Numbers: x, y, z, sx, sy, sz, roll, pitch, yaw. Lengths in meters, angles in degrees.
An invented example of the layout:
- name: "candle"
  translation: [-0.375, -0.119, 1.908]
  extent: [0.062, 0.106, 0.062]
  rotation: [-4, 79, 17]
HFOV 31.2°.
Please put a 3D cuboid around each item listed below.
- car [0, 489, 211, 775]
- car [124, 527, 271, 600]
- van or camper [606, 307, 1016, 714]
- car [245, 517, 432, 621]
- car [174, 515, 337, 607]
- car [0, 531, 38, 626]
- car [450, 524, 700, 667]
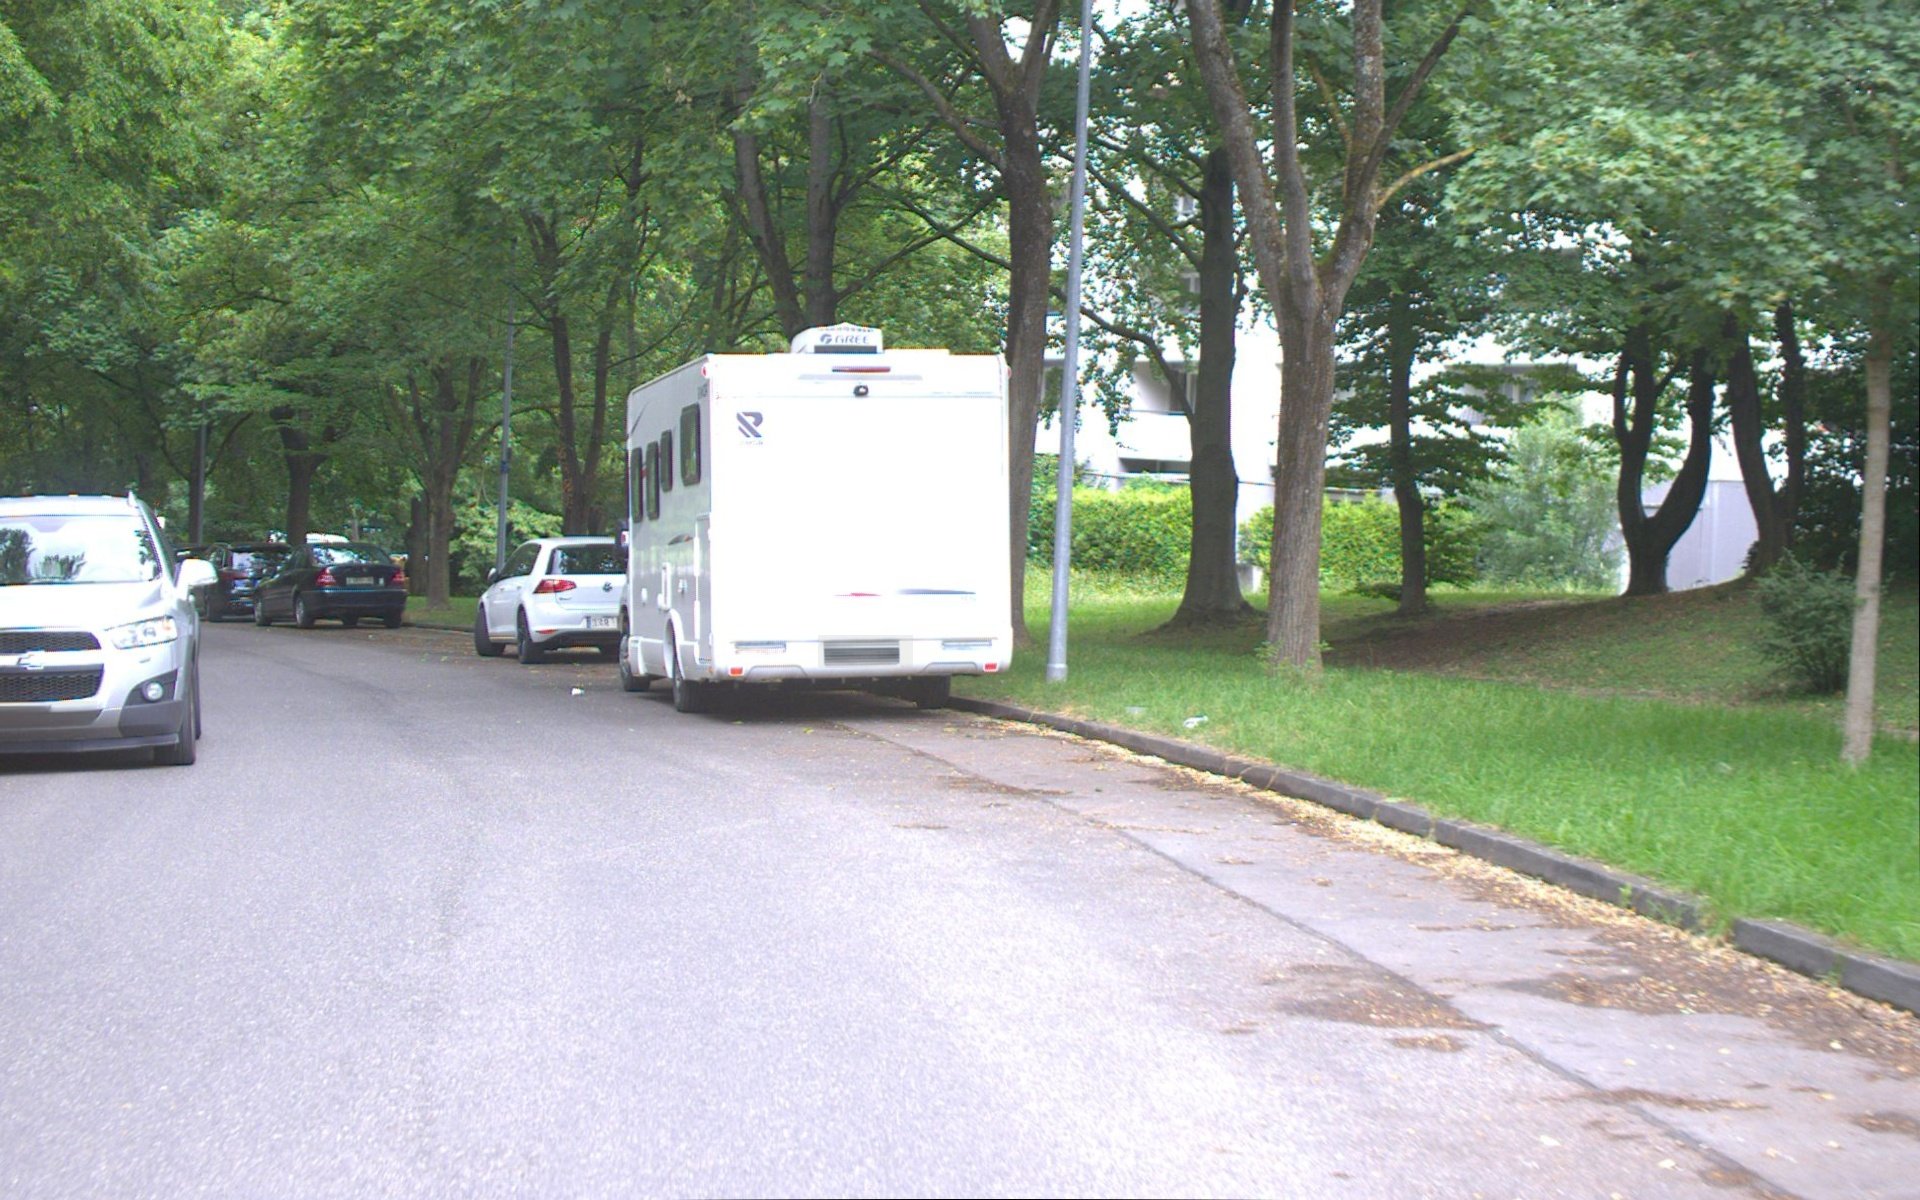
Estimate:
- name: "car"
  translation: [-5.945, 0.125, 22.671]
  extent: [1.857, 1.658, 4.572]
  rotation: [-2, 2, -11]
- name: "car"
  translation: [-14.747, -0.726, 66.375]
  extent: [1.993, 1.317, 4.001]
  rotation: [-2, 2, -24]
- name: "van or camper"
  translation: [-1.352, -0.774, 28.125]
  extent: [2.428, 2.997, 5.211]
  rotation: [-1, 2, -13]
- name: "car"
  translation: [-10.287, -0.525, 56.685]
  extent: [1.993, 1.495, 4.001]
  rotation: [2, 2, -26]
- name: "car"
  translation: [-12.792, -0.739, 62.272]
  extent: [1.993, 1.607, 4.001]
  rotation: [-1, 1, -25]
- name: "car"
  translation: [-16.040, -0.364, 55.708]
  extent: [1.812, 1.462, 4.001]
  rotation: [-1, 2, -19]
- name: "car"
  translation: [-4.645, -0.084, 41.006]
  extent: [1.993, 1.468, 4.002]
  rotation: [2, 2, -21]
